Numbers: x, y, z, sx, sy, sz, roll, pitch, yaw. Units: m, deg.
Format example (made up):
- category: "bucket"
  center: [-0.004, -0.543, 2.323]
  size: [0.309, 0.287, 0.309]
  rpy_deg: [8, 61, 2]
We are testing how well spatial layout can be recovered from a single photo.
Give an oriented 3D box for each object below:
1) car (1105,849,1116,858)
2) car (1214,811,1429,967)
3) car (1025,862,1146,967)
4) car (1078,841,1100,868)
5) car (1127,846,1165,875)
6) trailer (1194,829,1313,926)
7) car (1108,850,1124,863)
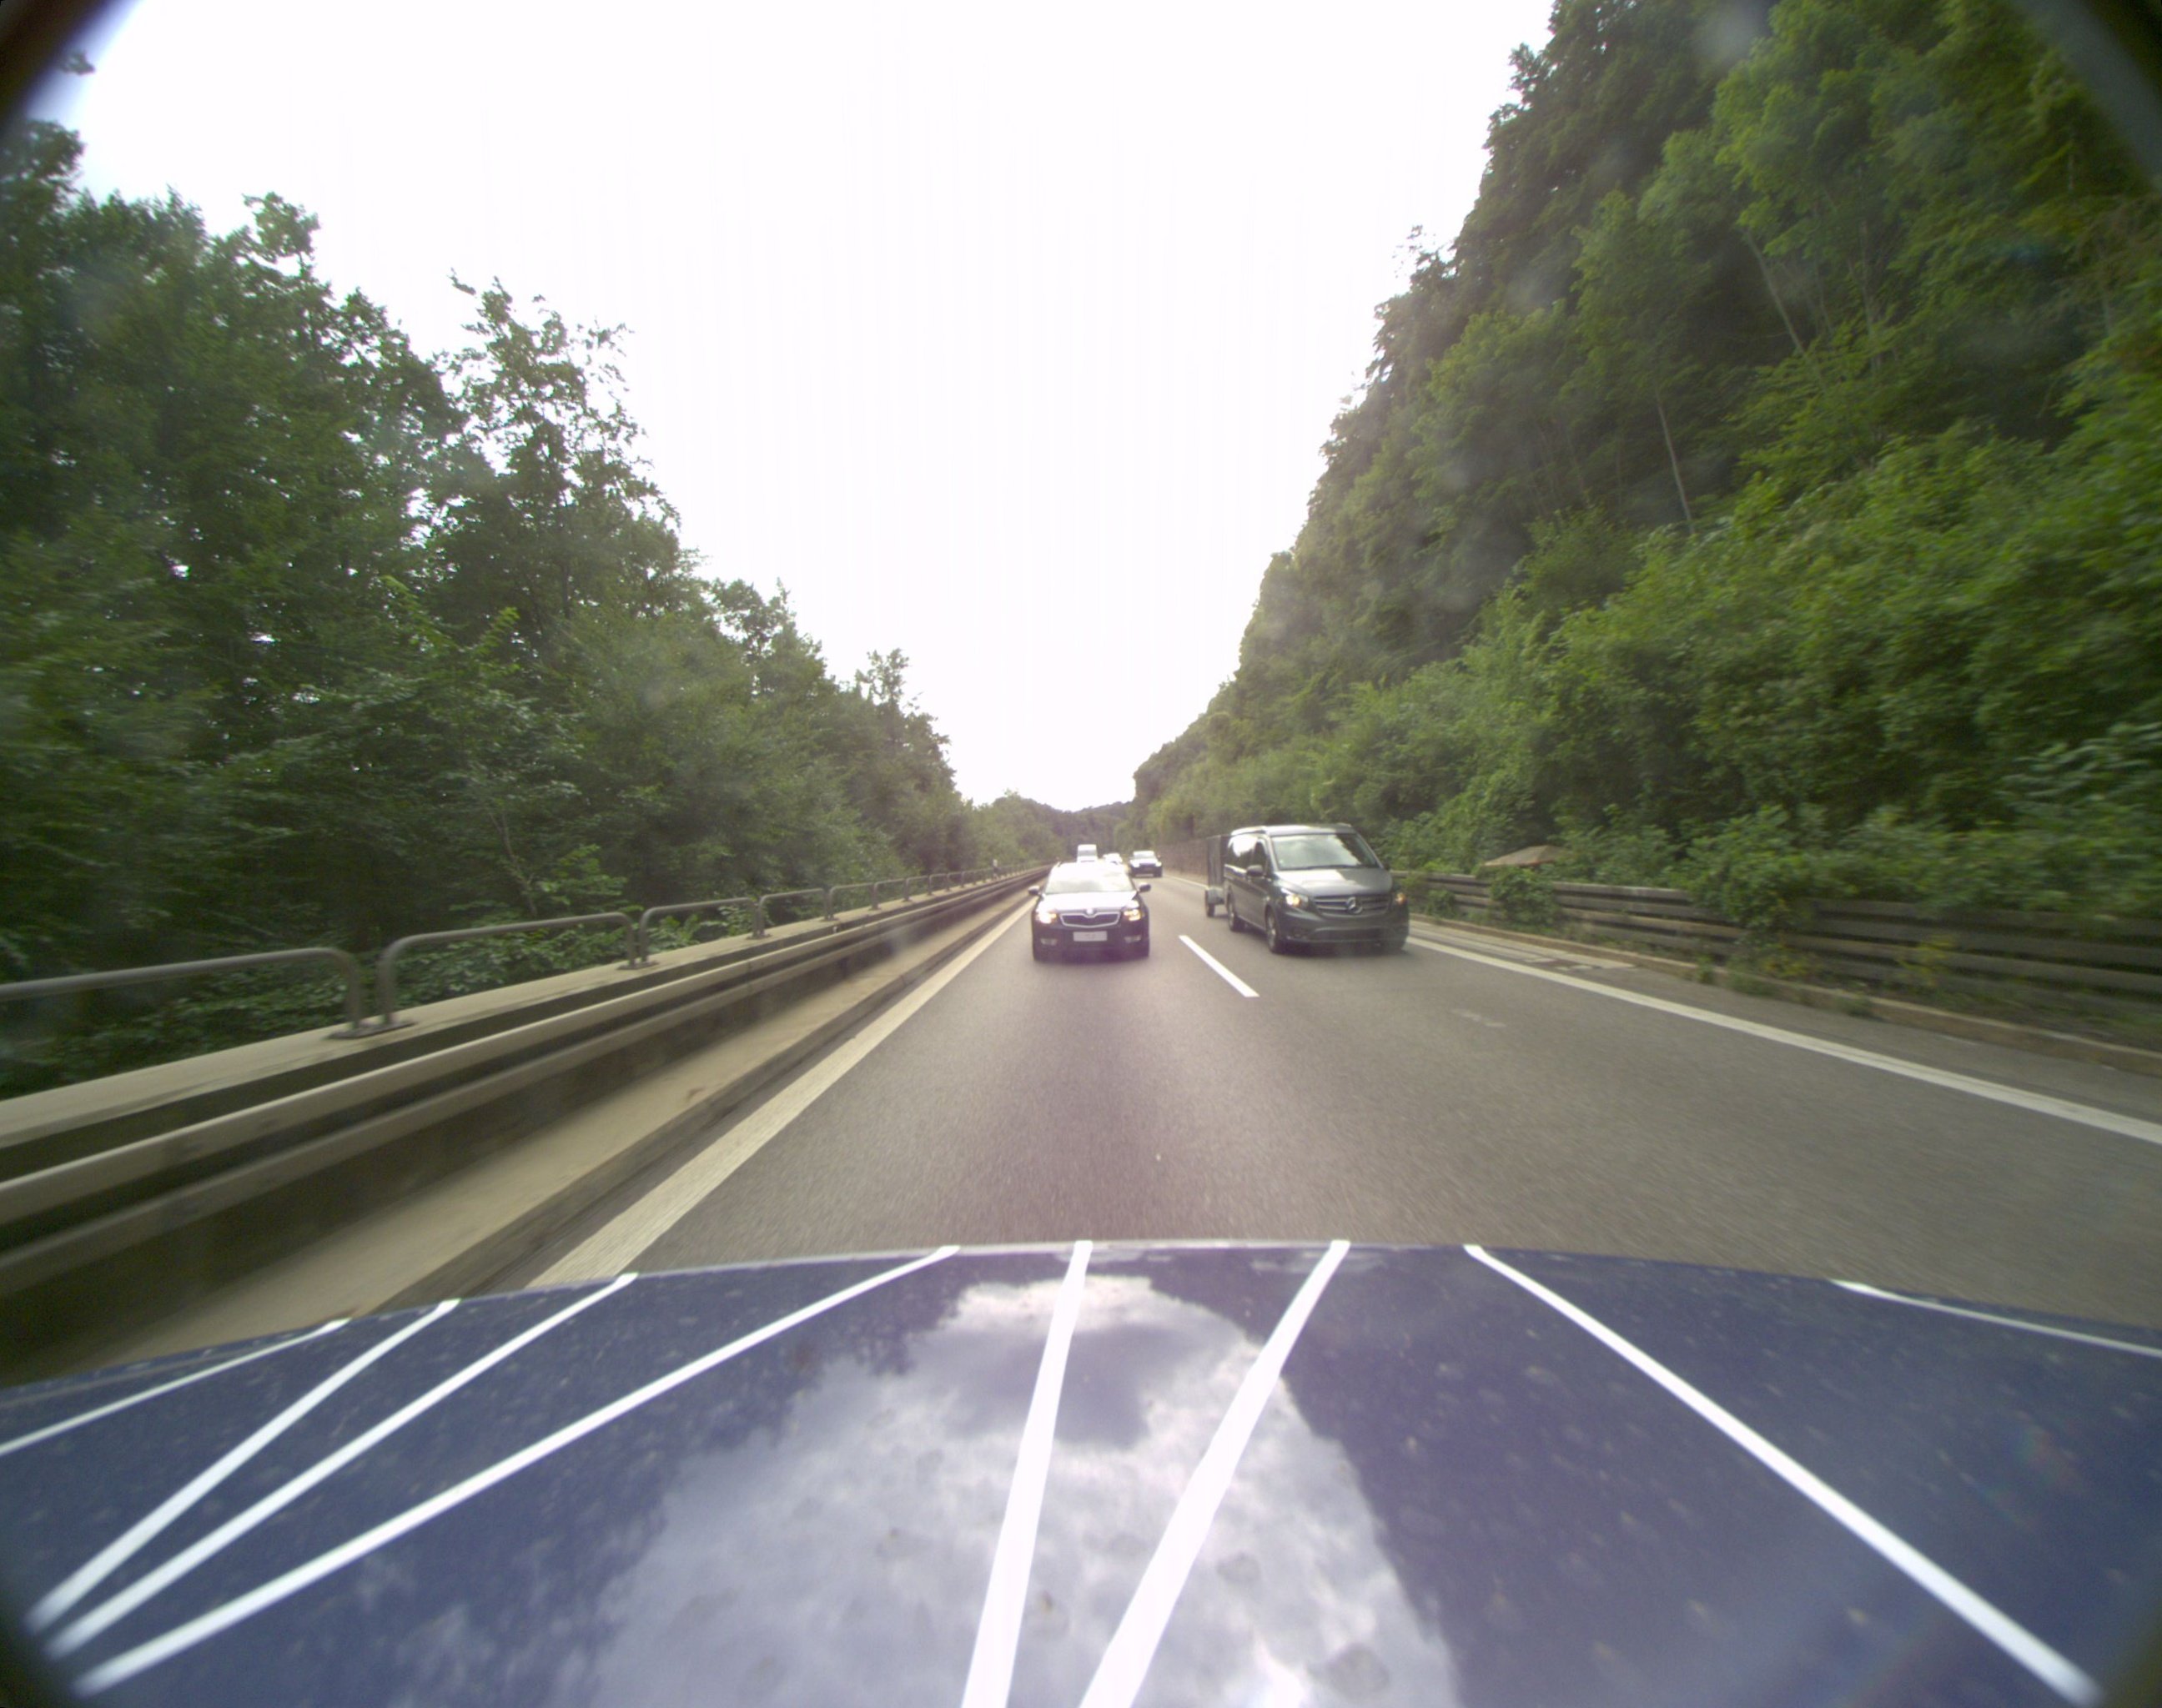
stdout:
- category: "car"
  center: [4.991, -0.100, 129.947]
  size: [1.823, 1.546, 4.001]
  rpy_deg: [0, -1, 2]
- category: "car"
  center: [3.678, 0.469, 12.875]
  size: [1.998, 2.002, 5.541]
  rpy_deg: [-2, 0, 2]
- category: "car"
  center: [0.109, 0.887, 12.852]
  size: [1.638, 1.384, 4.499]
  rpy_deg: [-3, -1, 1]
- category: "car"
  center: [0.839, 0.061, 75.361]
  size: [2.099, 2.547, 5.921]
  rpy_deg: [0, -1, 1]
- category: "car"
  center: [4.131, 0.368, 49.173]
  size: [1.976, 1.584, 5.584]
  rpy_deg: [-2, 1, 1]
- category: "trailer"
  center: [3.788, 0.478, 17.325]
  size: [1.976, 1.928, 3.431]
  rpy_deg: [-2, 0, 2]
- category: "car"
  center: [4.263, 0.278, 93.392]
  size: [1.823, 1.546, 4.001]
  rpy_deg: [0, -1, 1]
